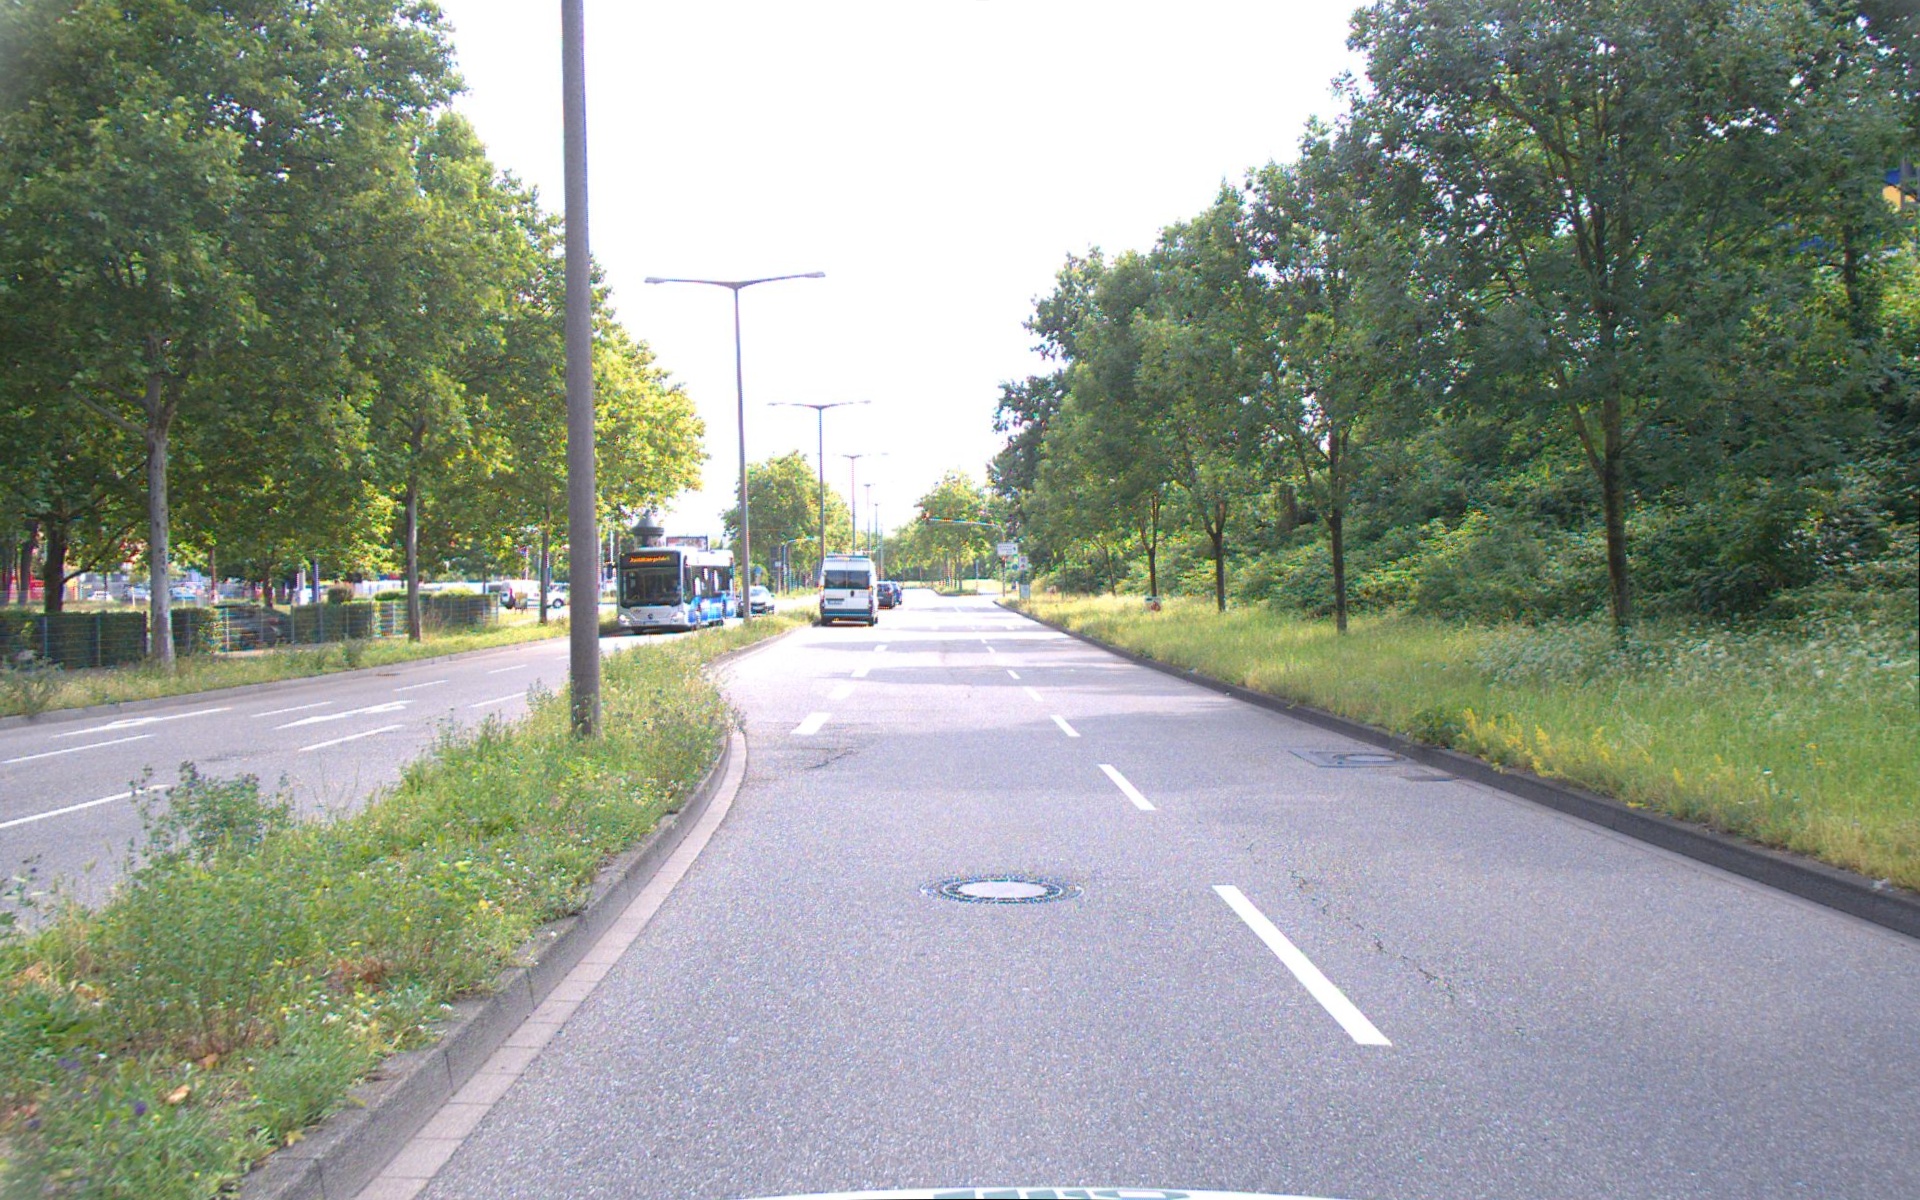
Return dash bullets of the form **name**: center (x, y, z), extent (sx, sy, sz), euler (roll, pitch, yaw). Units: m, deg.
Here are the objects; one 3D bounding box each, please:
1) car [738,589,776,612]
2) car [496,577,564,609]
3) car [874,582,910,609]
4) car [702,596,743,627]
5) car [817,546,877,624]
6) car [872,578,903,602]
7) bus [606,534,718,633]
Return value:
- **car**: center (-9.994, 0.038, 81.597), extent (1.527, 1.059, 3.413), euler (-1, 0, -1)
- **car**: center (-28.364, -0.436, 109.234), extent (3.963, 1.870, 1.837), euler (3, -4, -41)
- **car**: center (-3.943, -0.252, 95.488), extent (1.771, 1.496, 3.851), euler (-1, 0, -6)
- **car**: center (-13.688, 0.678, 95.589), extent (1.846, 1.611, 3.879), euler (0, -3, -1)
- **car**: center (-4.245, -0.633, 62.693), extent (2.154, 2.773, 4.929), euler (1, 2, -3)
- **car**: center (-4.733, -0.621, 107.276), extent (1.771, 1.496, 3.851), euler (-1, 0, -6)
- **bus**: center (-11.357, -0.548, 64.205), extent (3.049, 3.332, 12.324), euler (-2, 0, -5)
